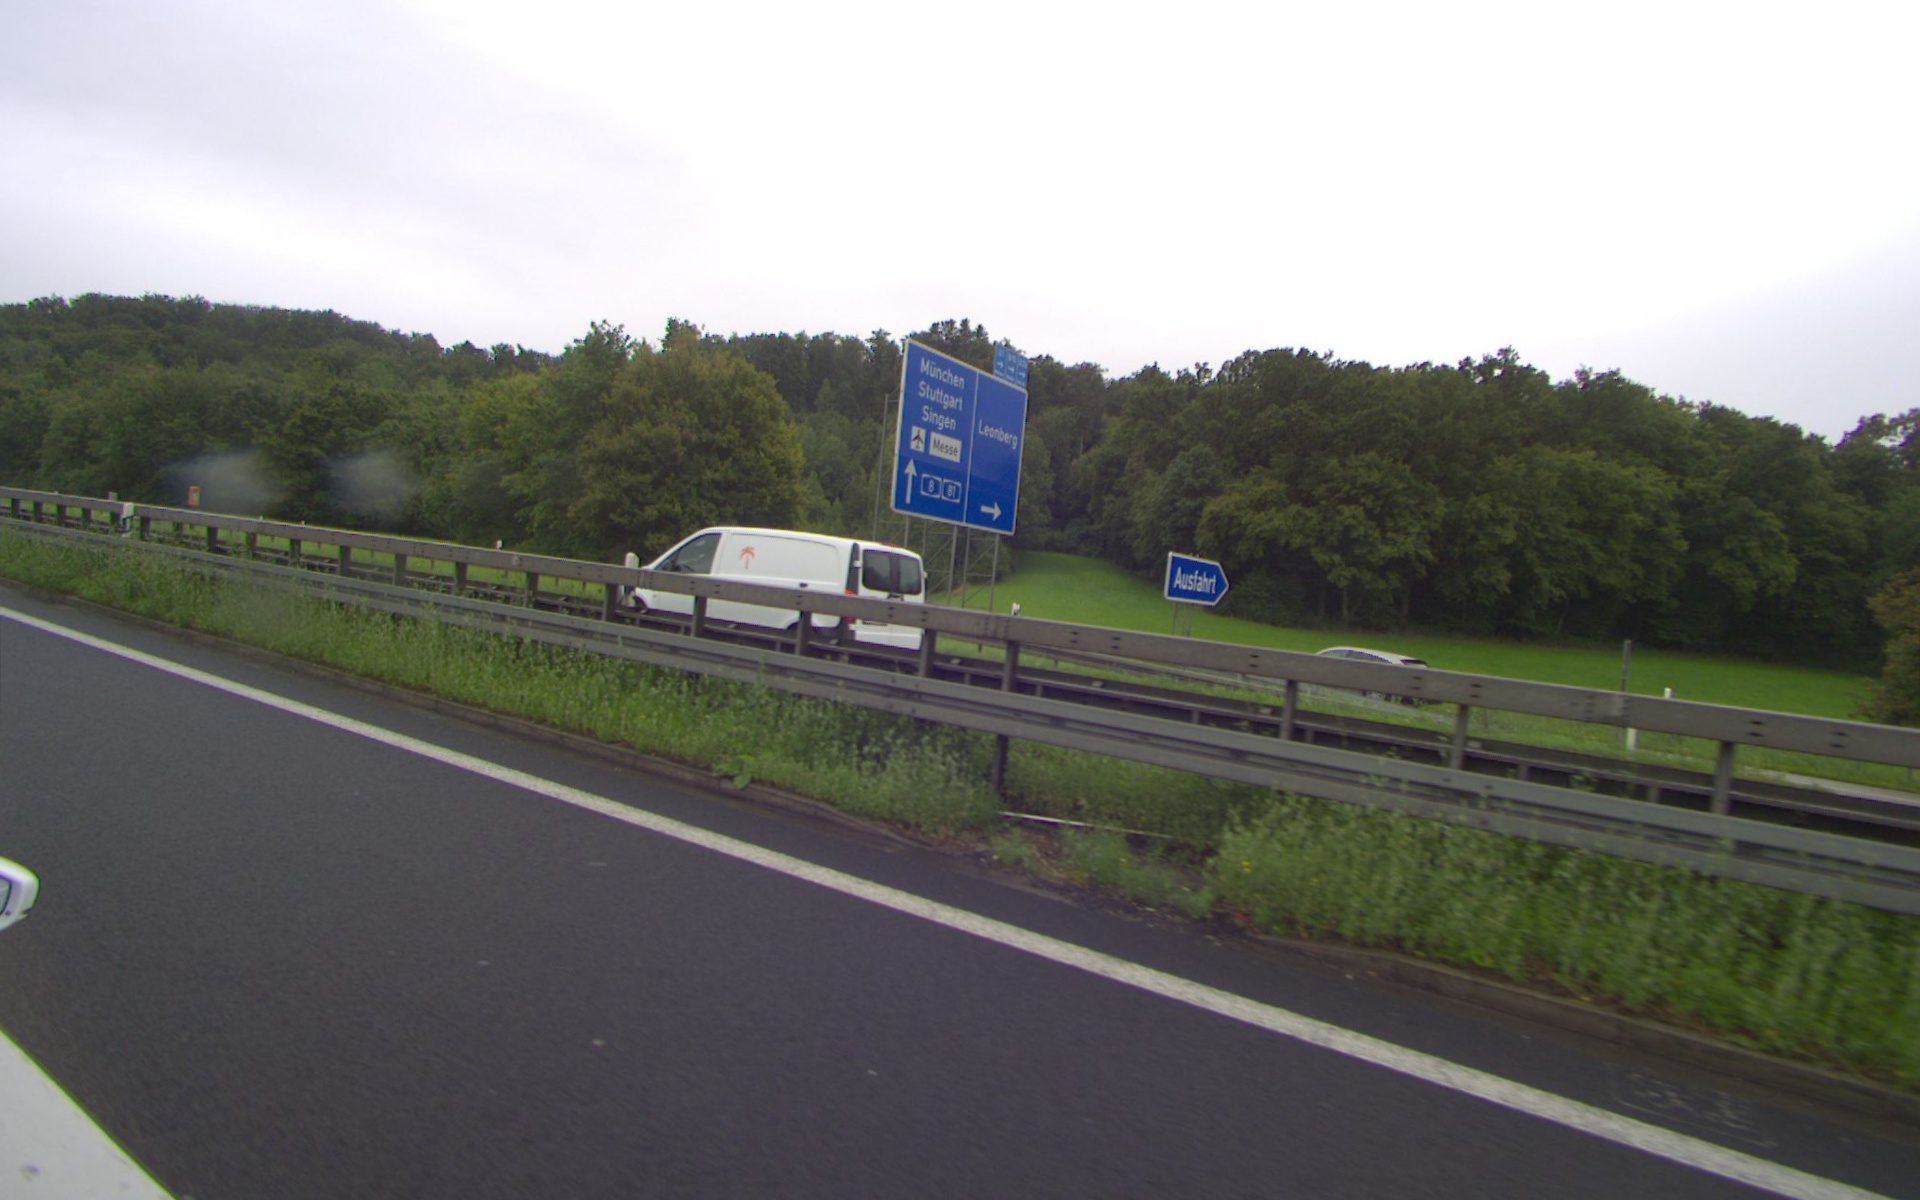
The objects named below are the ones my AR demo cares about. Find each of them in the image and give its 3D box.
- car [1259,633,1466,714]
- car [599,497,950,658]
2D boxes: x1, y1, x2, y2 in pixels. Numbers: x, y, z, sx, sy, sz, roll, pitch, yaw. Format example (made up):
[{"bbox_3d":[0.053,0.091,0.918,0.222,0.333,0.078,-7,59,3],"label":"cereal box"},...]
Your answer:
[{"bbox_3d":[10.351,1.869,26.226,1.887,1.473,4.666,6,0,-35],"label":"car"},{"bbox_3d":[-2.682,-0.343,14.155,4.640,1.714,1.911,6,0,31],"label":"car"}]
